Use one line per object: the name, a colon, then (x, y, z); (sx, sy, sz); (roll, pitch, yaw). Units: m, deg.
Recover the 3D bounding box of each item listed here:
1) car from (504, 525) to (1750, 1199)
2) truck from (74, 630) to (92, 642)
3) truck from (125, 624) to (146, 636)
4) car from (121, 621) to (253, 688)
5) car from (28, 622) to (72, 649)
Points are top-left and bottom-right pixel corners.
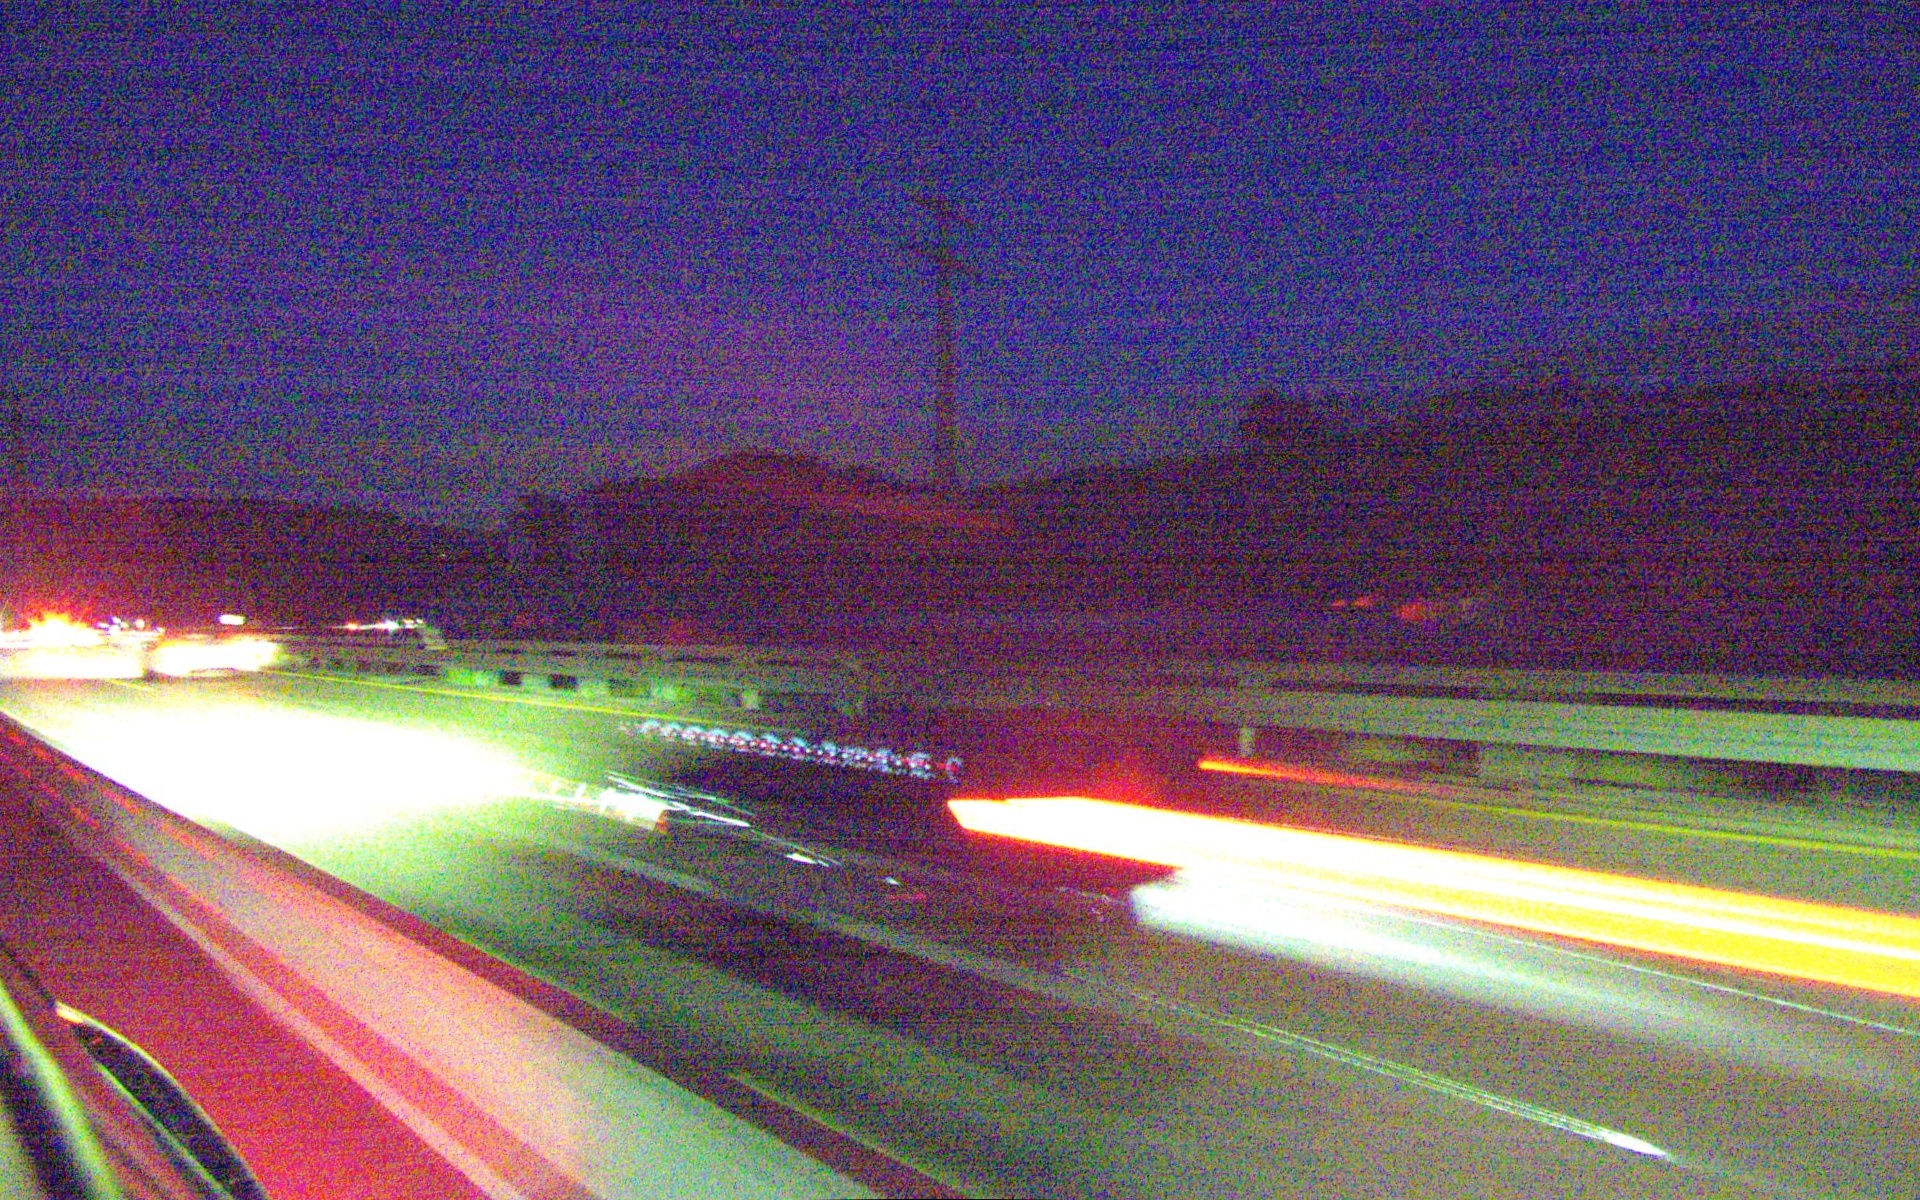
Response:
car: (0.165, 0.658, 3.511); (3.997, 1.480, 1.634); (-1, -2, 41)
truck: (-111.650, 4.552, 128.855); (1.661, 1.481, 4.161); (-1, 0, -39)
truck: (-165.628, 6.051, 203.323); (2.387, 2.443, 7.111); (2, -3, -32)
car: (-18.254, 1.222, 23.839); (4.242, 1.390, 1.698); (-1, 0, 41)
car: (-54.018, 2.075, 60.058); (1.693, 1.454, 4.489); (-1, 0, -45)
